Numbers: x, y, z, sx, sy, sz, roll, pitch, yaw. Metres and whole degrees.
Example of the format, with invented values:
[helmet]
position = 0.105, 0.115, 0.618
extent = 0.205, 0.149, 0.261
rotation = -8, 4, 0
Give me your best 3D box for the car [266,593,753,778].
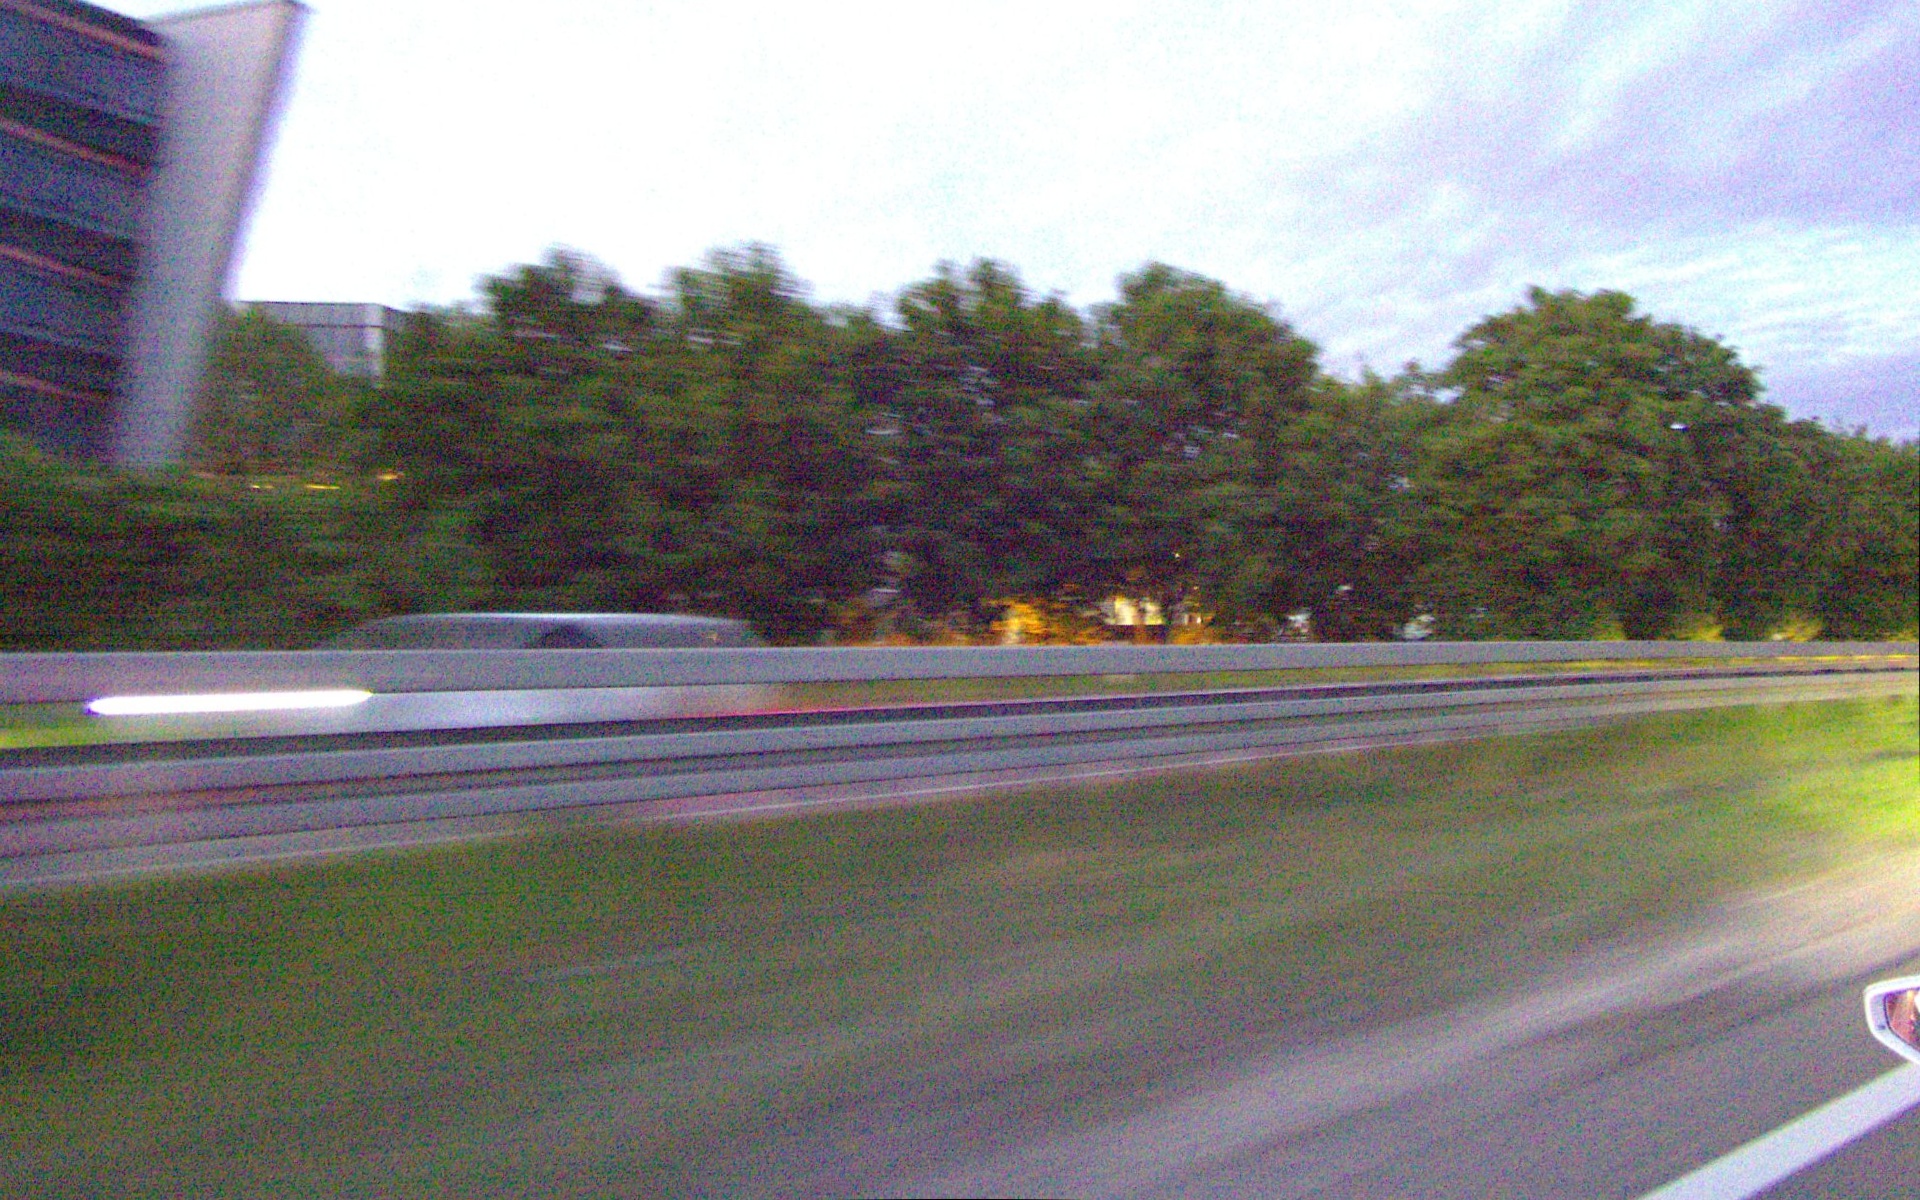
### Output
[car]
position = -4.786, 0.827, 11.055
extent = 4.612, 1.663, 1.760
rotation = 1, -2, -34
